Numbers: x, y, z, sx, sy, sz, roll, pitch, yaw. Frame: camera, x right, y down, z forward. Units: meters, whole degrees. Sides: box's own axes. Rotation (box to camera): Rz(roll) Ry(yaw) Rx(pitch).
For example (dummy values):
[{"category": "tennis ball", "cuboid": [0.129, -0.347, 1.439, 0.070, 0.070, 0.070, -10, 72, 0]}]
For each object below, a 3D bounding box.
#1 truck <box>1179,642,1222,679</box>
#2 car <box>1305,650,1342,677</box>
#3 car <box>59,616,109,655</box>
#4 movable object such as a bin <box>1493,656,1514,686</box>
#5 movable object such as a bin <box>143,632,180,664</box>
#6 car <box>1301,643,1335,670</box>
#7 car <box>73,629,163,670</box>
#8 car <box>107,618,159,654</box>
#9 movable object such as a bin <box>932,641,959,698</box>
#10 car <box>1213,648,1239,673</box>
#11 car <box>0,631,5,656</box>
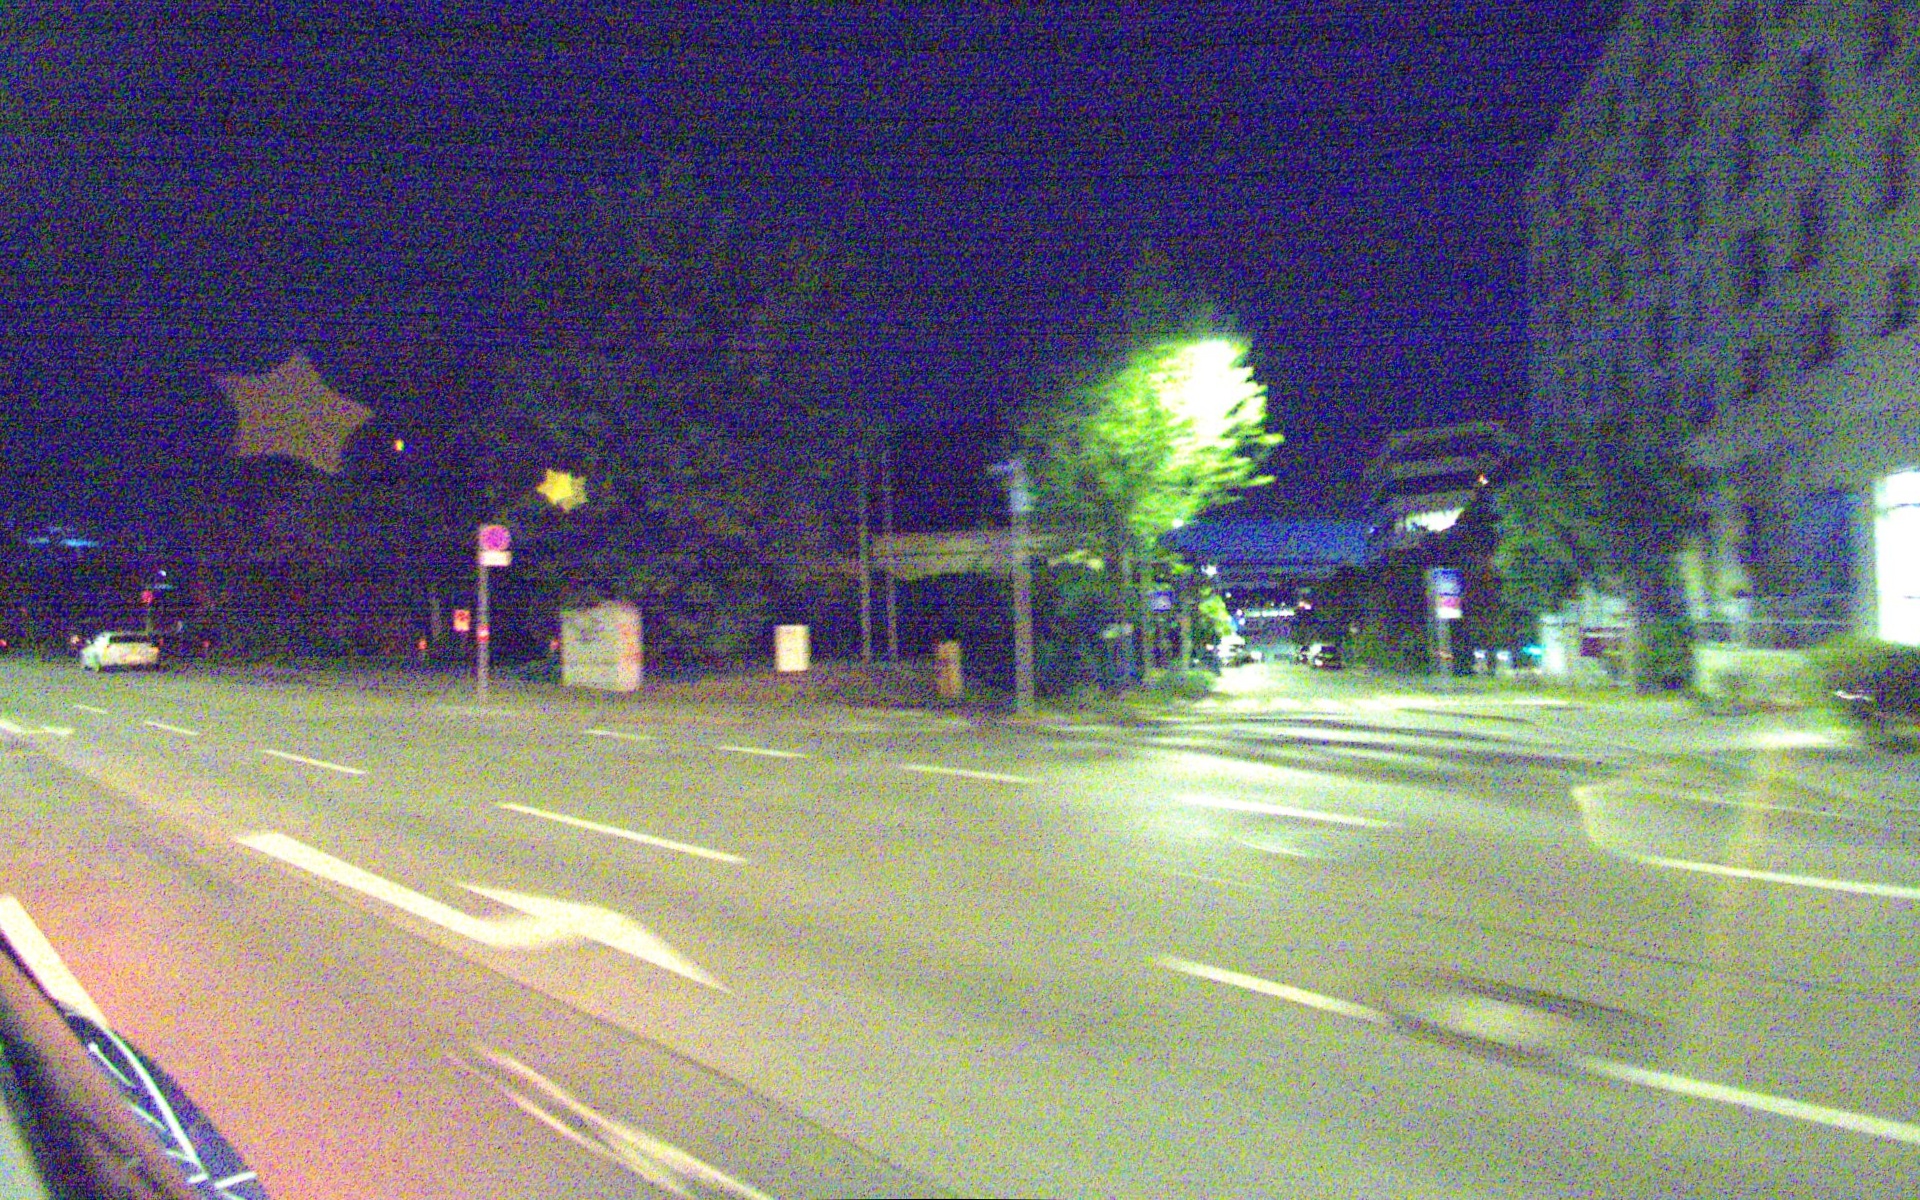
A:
[{"category": "truck", "cuboid": [12.810, 3.184, 53.786, 1.983, 1.807, 3.978, 2, -2, 16]}, {"category": "car", "cuboid": [24.558, 4.261, 68.499, 1.860, 1.654, 3.982, -1, -2, 14]}, {"category": "car", "cuboid": [-56.143, 2.285, 64.858, 4.969, 2.339, 1.971, -2, -4, 45]}, {"category": "movable object such as a bin", "cuboid": [24.208, 3.152, 45.071, 0.561, 1.317, 0.620, 1, -3, 3]}, {"category": "movable object such as a bin", "cuboid": [-37.939, 2.269, 48.081, 1.064, 1.507, 1.153, -2, -2, 38]}, {"category": "car", "cuboid": [26.144, 4.083, 74.032, 1.981, 1.850, 3.981, 0, -2, 14]}, {"category": "car", "cuboid": [-30.681, 1.770, 36.842, 4.336, 1.414, 1.891, -2, -3, 42]}, {"category": "car", "cuboid": [-54.997, 2.385, 67.302, 4.626, 2.339, 2.182, -2, -3, 45]}, {"category": "movable object such as a bin", "cuboid": [-0.333, 1.615, 23.601, 0.561, 1.317, 0.620, 1, -3, 3]}, {"category": "car", "cuboid": [20.315, 4.598, 77.336, 1.820, 1.725, 3.896, -3, -3, 14]}, {"category": "car", "cuboid": [-60.593, 2.706, 62.854, 1.735, 1.538, 4.324, 1, -2, -45]}]
